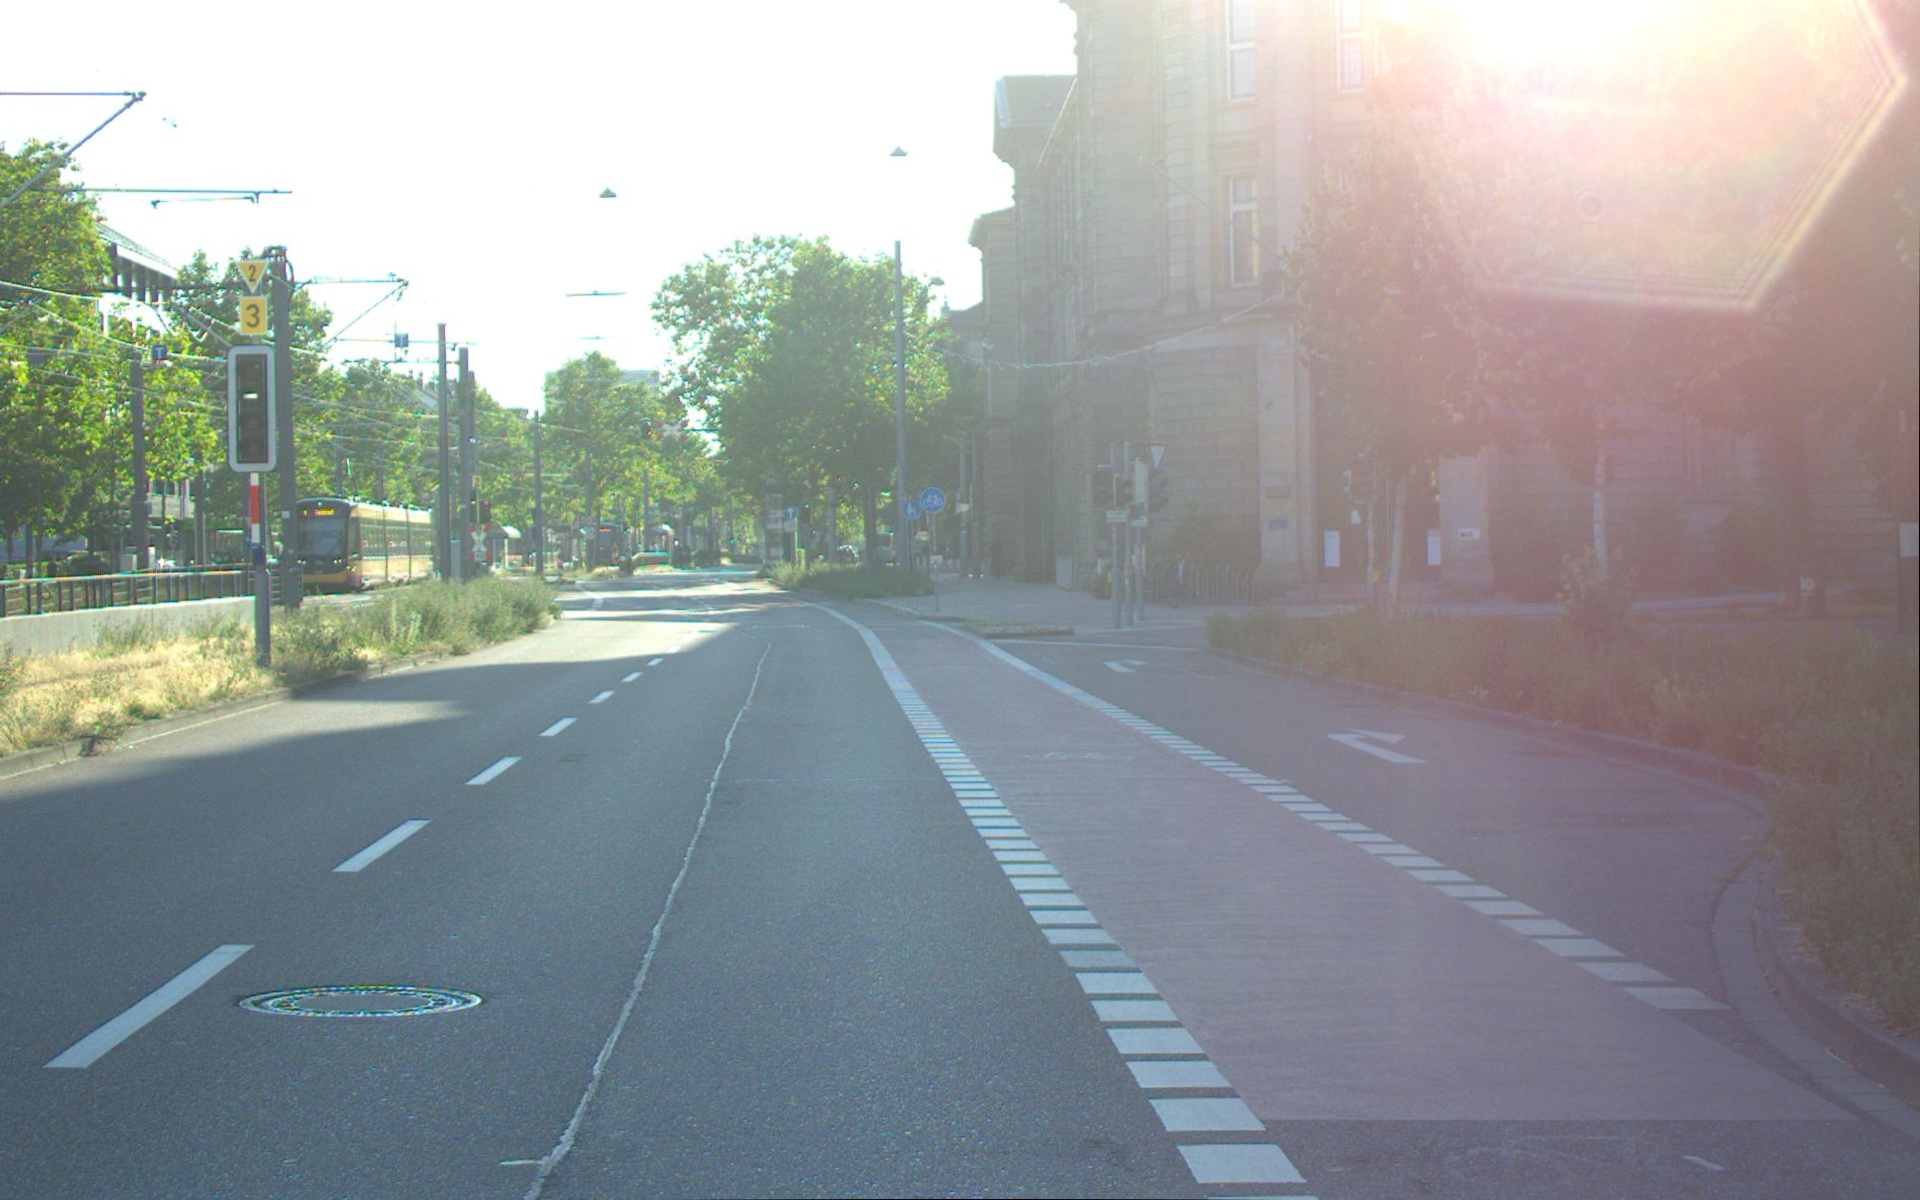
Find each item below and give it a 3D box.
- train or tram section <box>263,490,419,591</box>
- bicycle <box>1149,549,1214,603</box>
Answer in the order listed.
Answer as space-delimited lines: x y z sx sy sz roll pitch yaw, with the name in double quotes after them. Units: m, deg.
-23.587 -2.254 132.043 3.112 3.547 17.479 -1 1 -1 "train or tram section"
5.146 -0.567 79.797 0.867 1.192 2.237 -1 1 21 "bicycle"
